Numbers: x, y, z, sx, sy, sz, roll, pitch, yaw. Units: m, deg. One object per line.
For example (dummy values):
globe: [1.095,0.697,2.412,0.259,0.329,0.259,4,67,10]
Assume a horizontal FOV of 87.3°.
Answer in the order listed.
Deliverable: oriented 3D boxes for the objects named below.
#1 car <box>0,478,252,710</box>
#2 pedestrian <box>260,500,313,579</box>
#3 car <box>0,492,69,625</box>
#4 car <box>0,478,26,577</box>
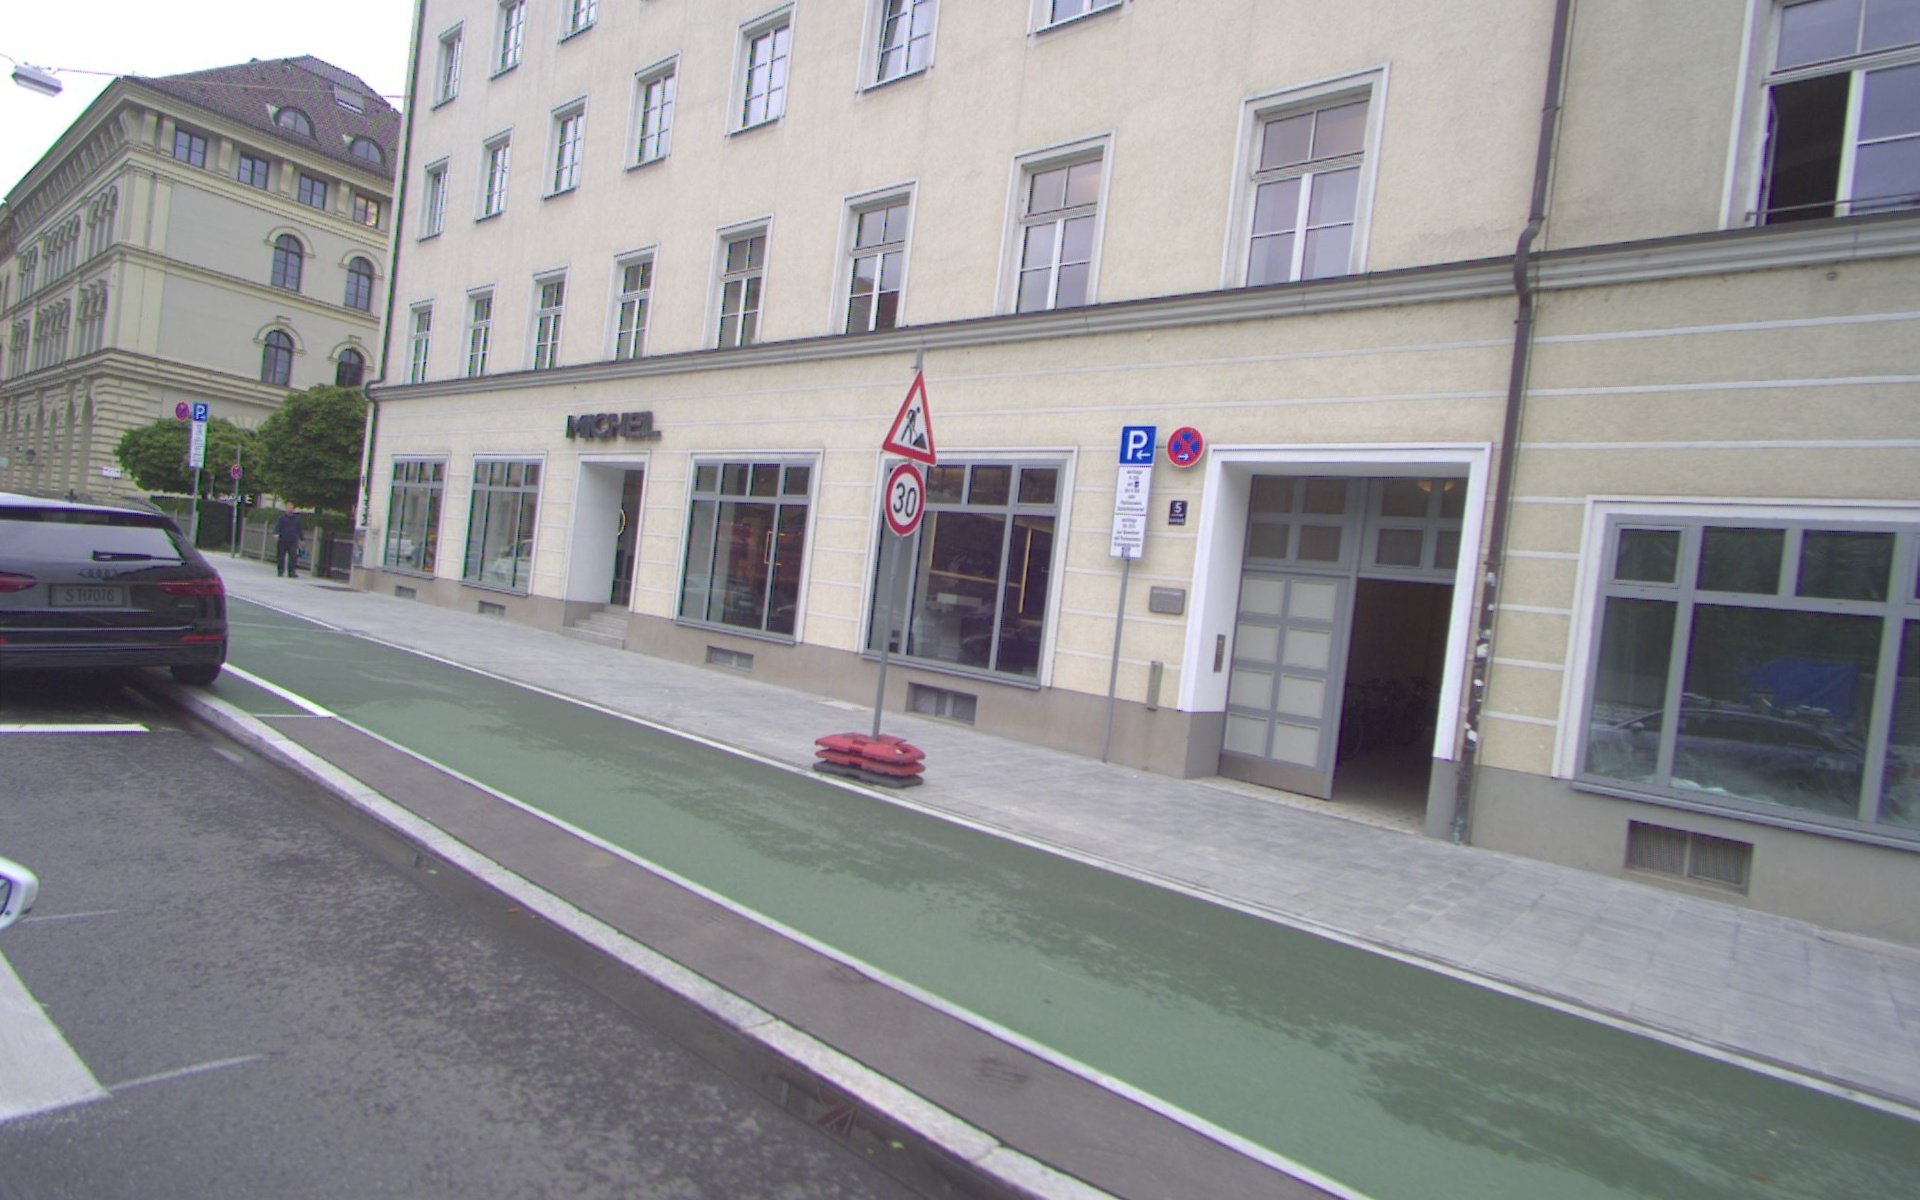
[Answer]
car: [-7.715,-0.222,8.285,4.617,1.498,1.800,7,1,39]
pedestrian: [-16.976,-1.519,25.369,0.766,1.859,0.789,8,2,41]
car: [-12.442,-0.700,12.228,4.362,1.403,1.679,7,-1,40]
car: [-16.580,-1.340,16.310,3.374,1.514,1.608,7,1,40]
